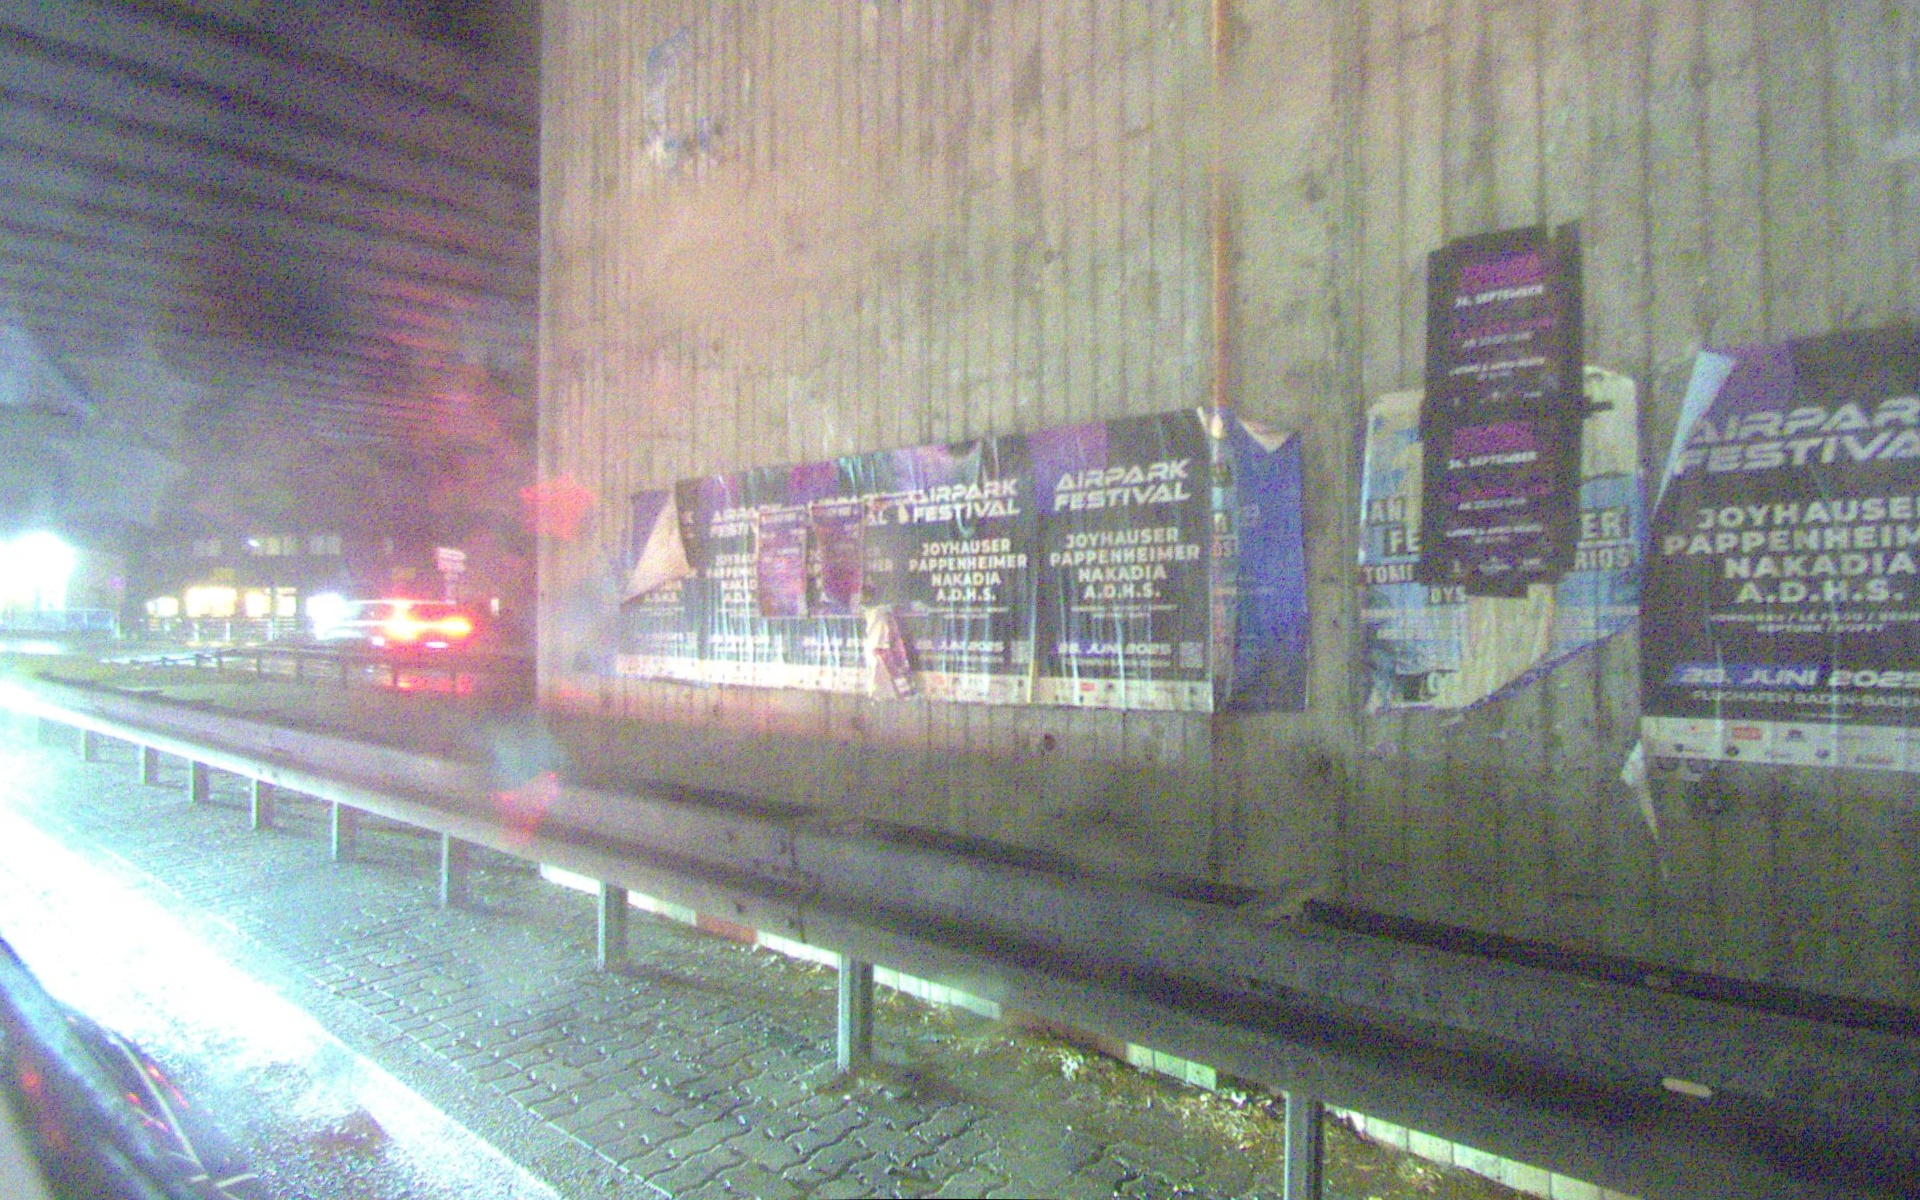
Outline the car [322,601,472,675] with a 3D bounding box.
[{"bbox_3d":[-15.963,1.021,28.642,4.345,1.937,1.977,-1,0,34],"label":"car"}]
